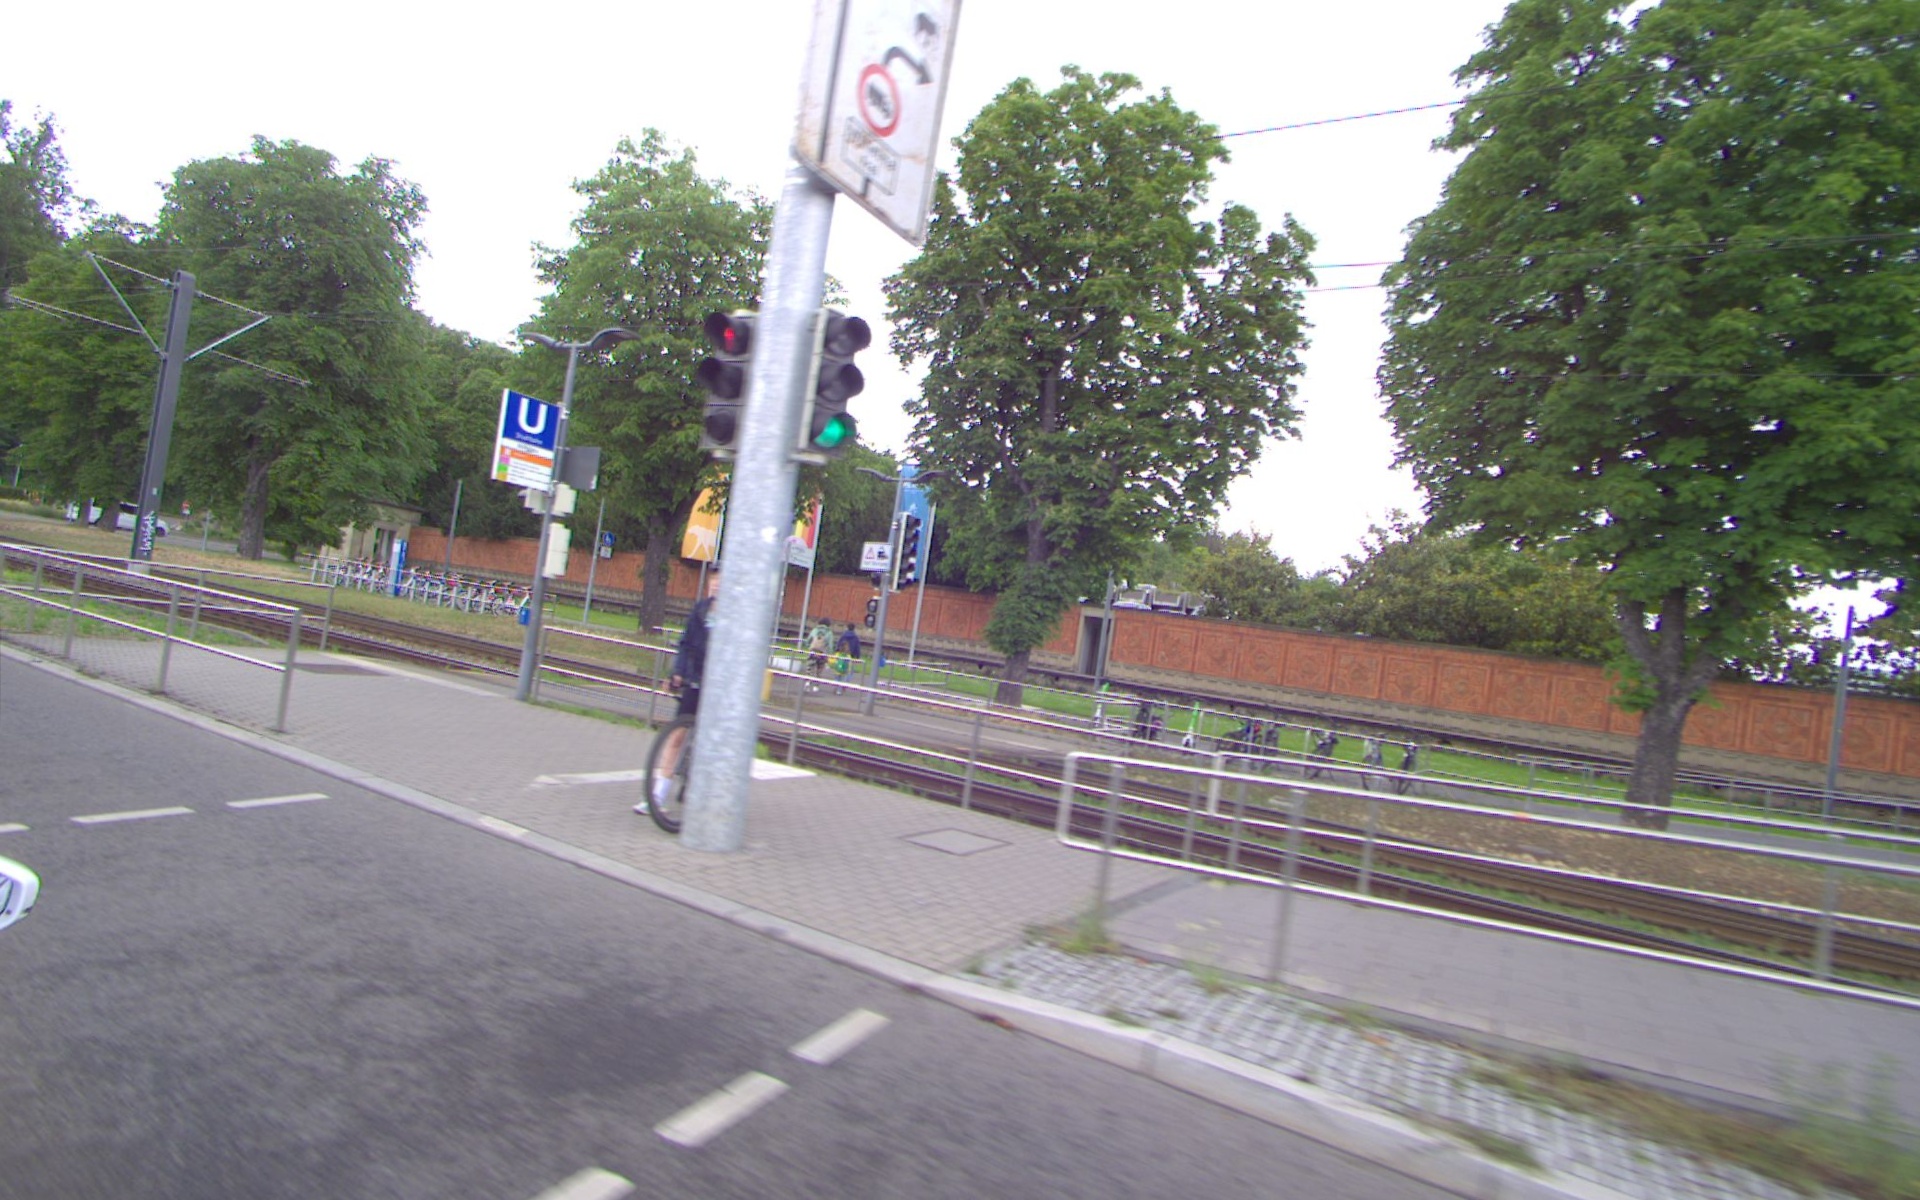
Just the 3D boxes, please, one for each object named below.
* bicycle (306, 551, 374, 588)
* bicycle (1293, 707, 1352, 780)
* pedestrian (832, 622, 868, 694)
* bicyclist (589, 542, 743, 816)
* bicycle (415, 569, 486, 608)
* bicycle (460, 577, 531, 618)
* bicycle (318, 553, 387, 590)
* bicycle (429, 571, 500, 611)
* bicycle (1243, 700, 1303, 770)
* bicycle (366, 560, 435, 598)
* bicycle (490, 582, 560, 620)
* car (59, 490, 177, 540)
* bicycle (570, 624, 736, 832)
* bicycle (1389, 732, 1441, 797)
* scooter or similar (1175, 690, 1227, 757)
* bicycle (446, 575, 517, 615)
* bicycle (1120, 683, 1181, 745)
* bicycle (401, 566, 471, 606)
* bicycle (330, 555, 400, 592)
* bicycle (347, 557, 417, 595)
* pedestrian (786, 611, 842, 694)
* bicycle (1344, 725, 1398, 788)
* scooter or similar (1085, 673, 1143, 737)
[{"bbox_3d":[-21.661,-1.049,35.169,0.522,0.986,1.916,7,-2,31],"label":"bicycle"},{"bbox_3d":[6.557,2.609,18.136,0.524,1.150,1.880,7,-5,31],"label":"bicycle"},{"bbox_3d":[-2.446,1.284,22.400,0.506,1.519,0.499,7,-1,9],"label":"pedestrian"},{"bbox_3d":[-1.874,0.495,6.531,0.608,1.590,0.805,10,-1,-8],"label":"bicyclist"},{"bbox_3d":[-16.191,-0.348,31.999,0.522,0.986,1.916,7,-2,31],"label":"bicycle"},{"bbox_3d":[-14.230,-0.069,30.850,0.522,0.986,1.916,7,-2,31],"label":"bicycle"},{"bbox_3d":[-20.911,-0.967,34.657,0.522,0.986,1.916,7,-2,31],"label":"bicycle"},{"bbox_3d":[-15.555,-0.275,31.649,0.522,0.986,1.916,7,-2,31],"label":"bicycle"},{"bbox_3d":[5.873,2.545,18.817,0.524,1.150,1.880,7,-5,31],"label":"bicycle"},{"bbox_3d":[-18.660,-0.703,33.611,0.522,0.986,1.916,7,-2,31],"label":"bicycle"},{"bbox_3d":[-13.167,0.038,30.501,0.522,0.906,1.916,7,-2,31],"label":"bicycle"},{"bbox_3d":[-53.316,-5.354,63.852,2.167,2.034,5.159,8,-4,22],"label":"car"},{"bbox_3d":[-1.920,0.749,6.531,0.610,1.086,1.683,10,-2,-8],"label":"bicycle"},{"bbox_3d":[7.892,2.860,17.410,0.524,0.972,1.880,7,-5,31],"label":"bicycle"},{"bbox_3d":[4.640,2.391,19.324,0.328,1.150,1.277,6,-5,38],"label":"scooter or similar"},{"bbox_3d":[-14.795,-0.139,31.139,0.522,0.986,1.916,7,-2,31],"label":"bicycle"},{"bbox_3d":[3.760,2.256,19.756,0.475,1.044,1.770,7,-5,31],"label":"bicycle"},{"bbox_3d":[-16.848,-0.436,32.387,0.522,0.986,1.916,7,-2,31],"label":"bicycle"},{"bbox_3d":[-20.131,-0.886,34.089,0.522,0.986,1.916,7,-2,31],"label":"bicycle"},{"bbox_3d":[-19.437,-0.802,33.863,0.522,0.986,1.916,7,-2,31],"label":"bicycle"},{"bbox_3d":[-3.088,1.123,21.414,0.763,1.627,0.836,8,-1,9],"label":"pedestrian"},{"bbox_3d":[7.277,2.778,17.764,0.524,0.972,1.880,7,-5,31],"label":"bicycle"},{"bbox_3d":[3.199,2.187,20.881,1.157,1.150,0.330,12,-5,-35],"label":"scooter or similar"}]
